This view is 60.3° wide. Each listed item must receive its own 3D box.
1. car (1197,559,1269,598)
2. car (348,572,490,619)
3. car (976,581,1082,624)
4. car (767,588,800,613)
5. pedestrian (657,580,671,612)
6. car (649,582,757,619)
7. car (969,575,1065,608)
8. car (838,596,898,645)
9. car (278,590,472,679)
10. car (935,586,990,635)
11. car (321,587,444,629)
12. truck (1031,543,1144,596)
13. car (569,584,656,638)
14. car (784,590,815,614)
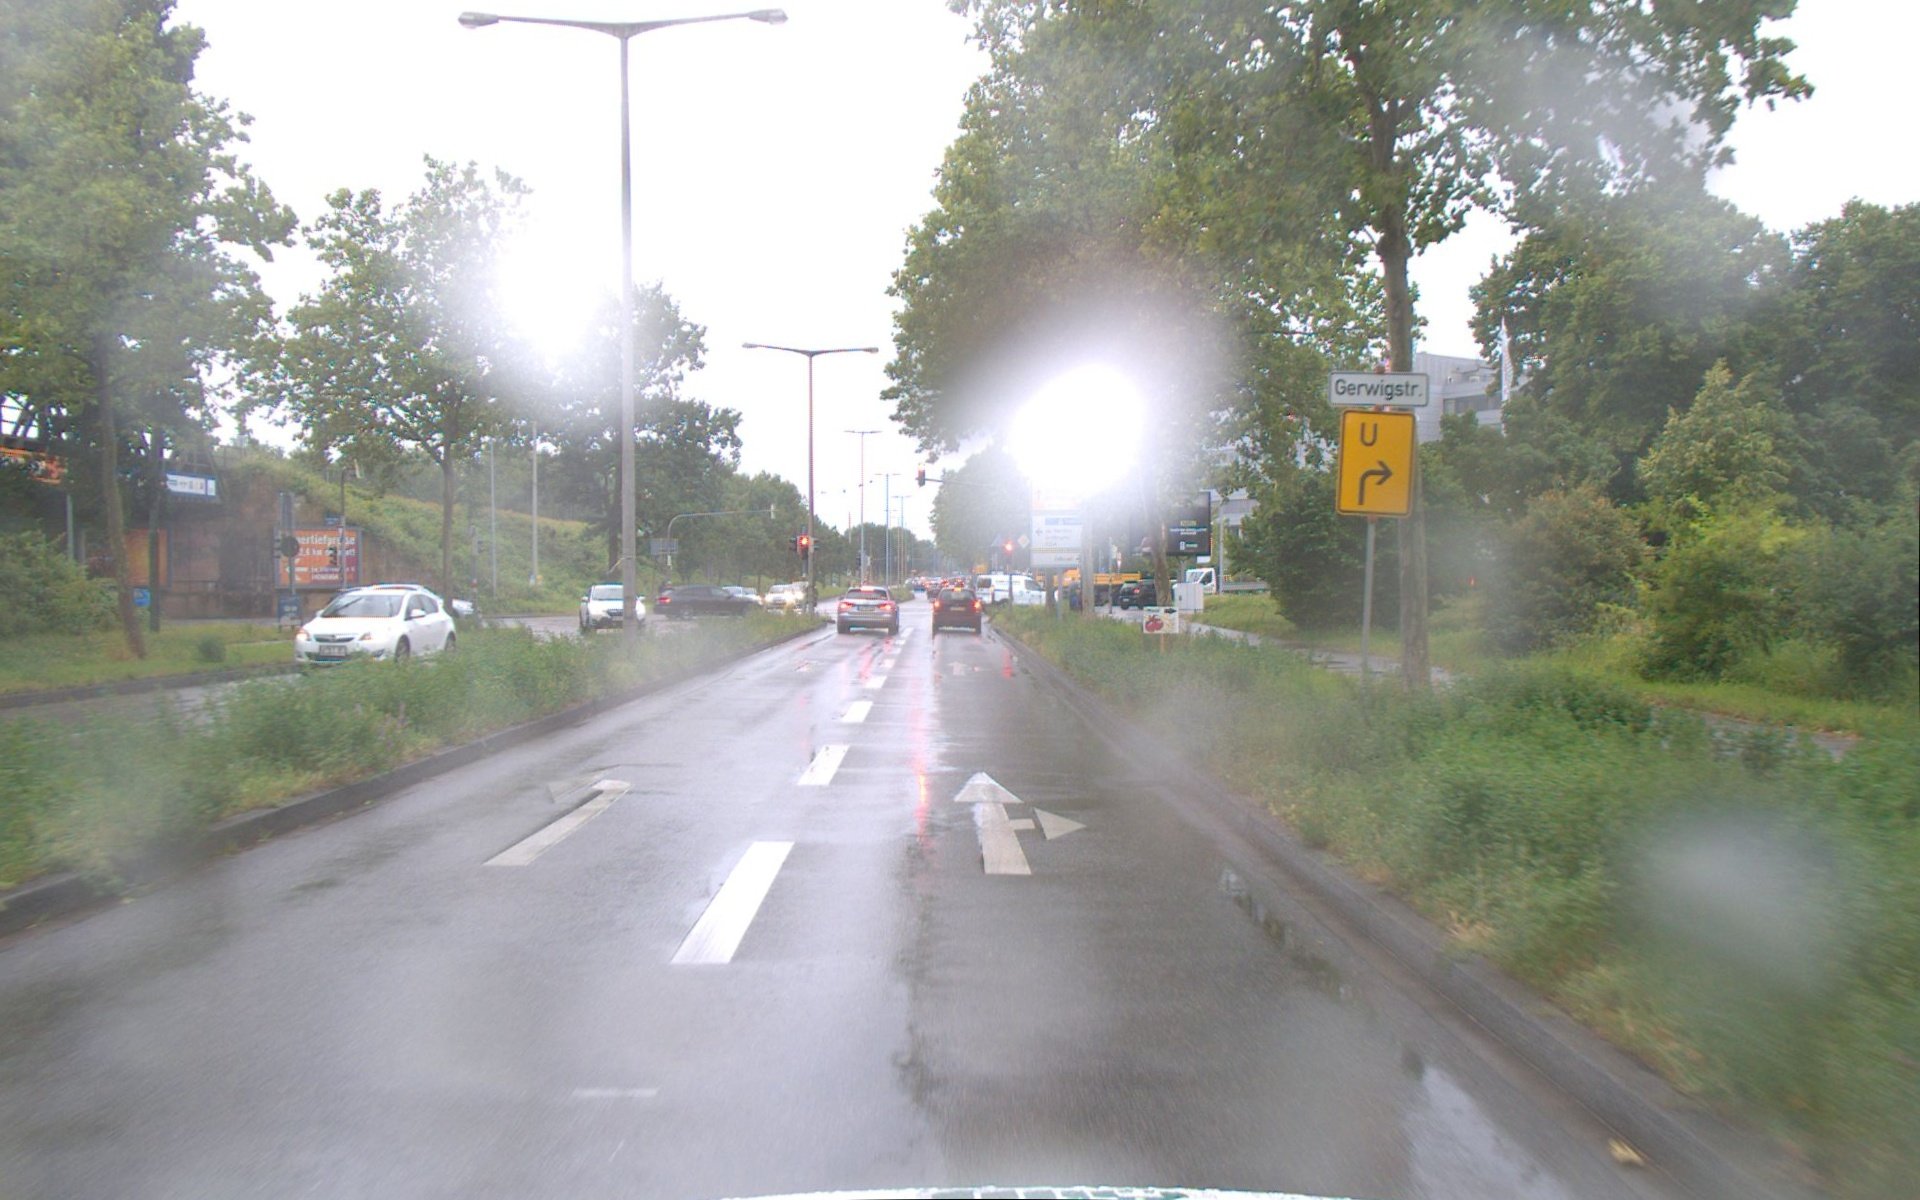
[{"bbox_3d":[16.834,-1.341,101.978,4.338,2.228,1.780,-3,2,-35],"label":"car"},{"bbox_3d":[-19.224,-0.158,58.861,4.407,1.617,1.864,0,0,8],"label":"car"},{"bbox_3d":[2.887,0.073,68.669,4.347,1.563,1.776,-3,3,-40],"label":"car"},{"bbox_3d":[-11.113,0.007,104.392,1.677,1.557,4.000,0,0,0],"label":"car"},{"bbox_3d":[-16.813,-0.236,93.975,0.522,1.817,0.673,1,-1,17],"label":"pedestrian"},{"bbox_3d":[-11.121,0.035,71.615,4.326,1.564,1.784,0,0,-30],"label":"car"},{"bbox_3d":[2.757,-0.417,79.555,4.326,1.564,1.784,-1,0,-30],"label":"car"},{"bbox_3d":[-2.863,0.607,52.328,1.655,1.458,4.574,1,0,0],"label":"car"},{"bbox_3d":[-10.461,0.564,29.962,1.891,1.470,4.656,1,0,-1],"label":"car"},{"bbox_3d":[0.082,0.324,56.477,1.759,1.564,4.387,2,0,0],"label":"car"},{"bbox_3d":[-22.583,0.295,64.751,4.326,1.564,1.784,-1,0,-30],"label":"car"},{"bbox_3d":[7.798,-1.803,100.661,6.975,3.107,2.612,0,0,-38],"label":"truck"},{"bbox_3d":[-11.109,0.330,52.635,1.832,1.617,4.485,-1,0,-24],"label":"car"},{"bbox_3d":[-10.792,0.124,111.497,1.677,1.557,4.000,0,0,0],"label":"car"}]
